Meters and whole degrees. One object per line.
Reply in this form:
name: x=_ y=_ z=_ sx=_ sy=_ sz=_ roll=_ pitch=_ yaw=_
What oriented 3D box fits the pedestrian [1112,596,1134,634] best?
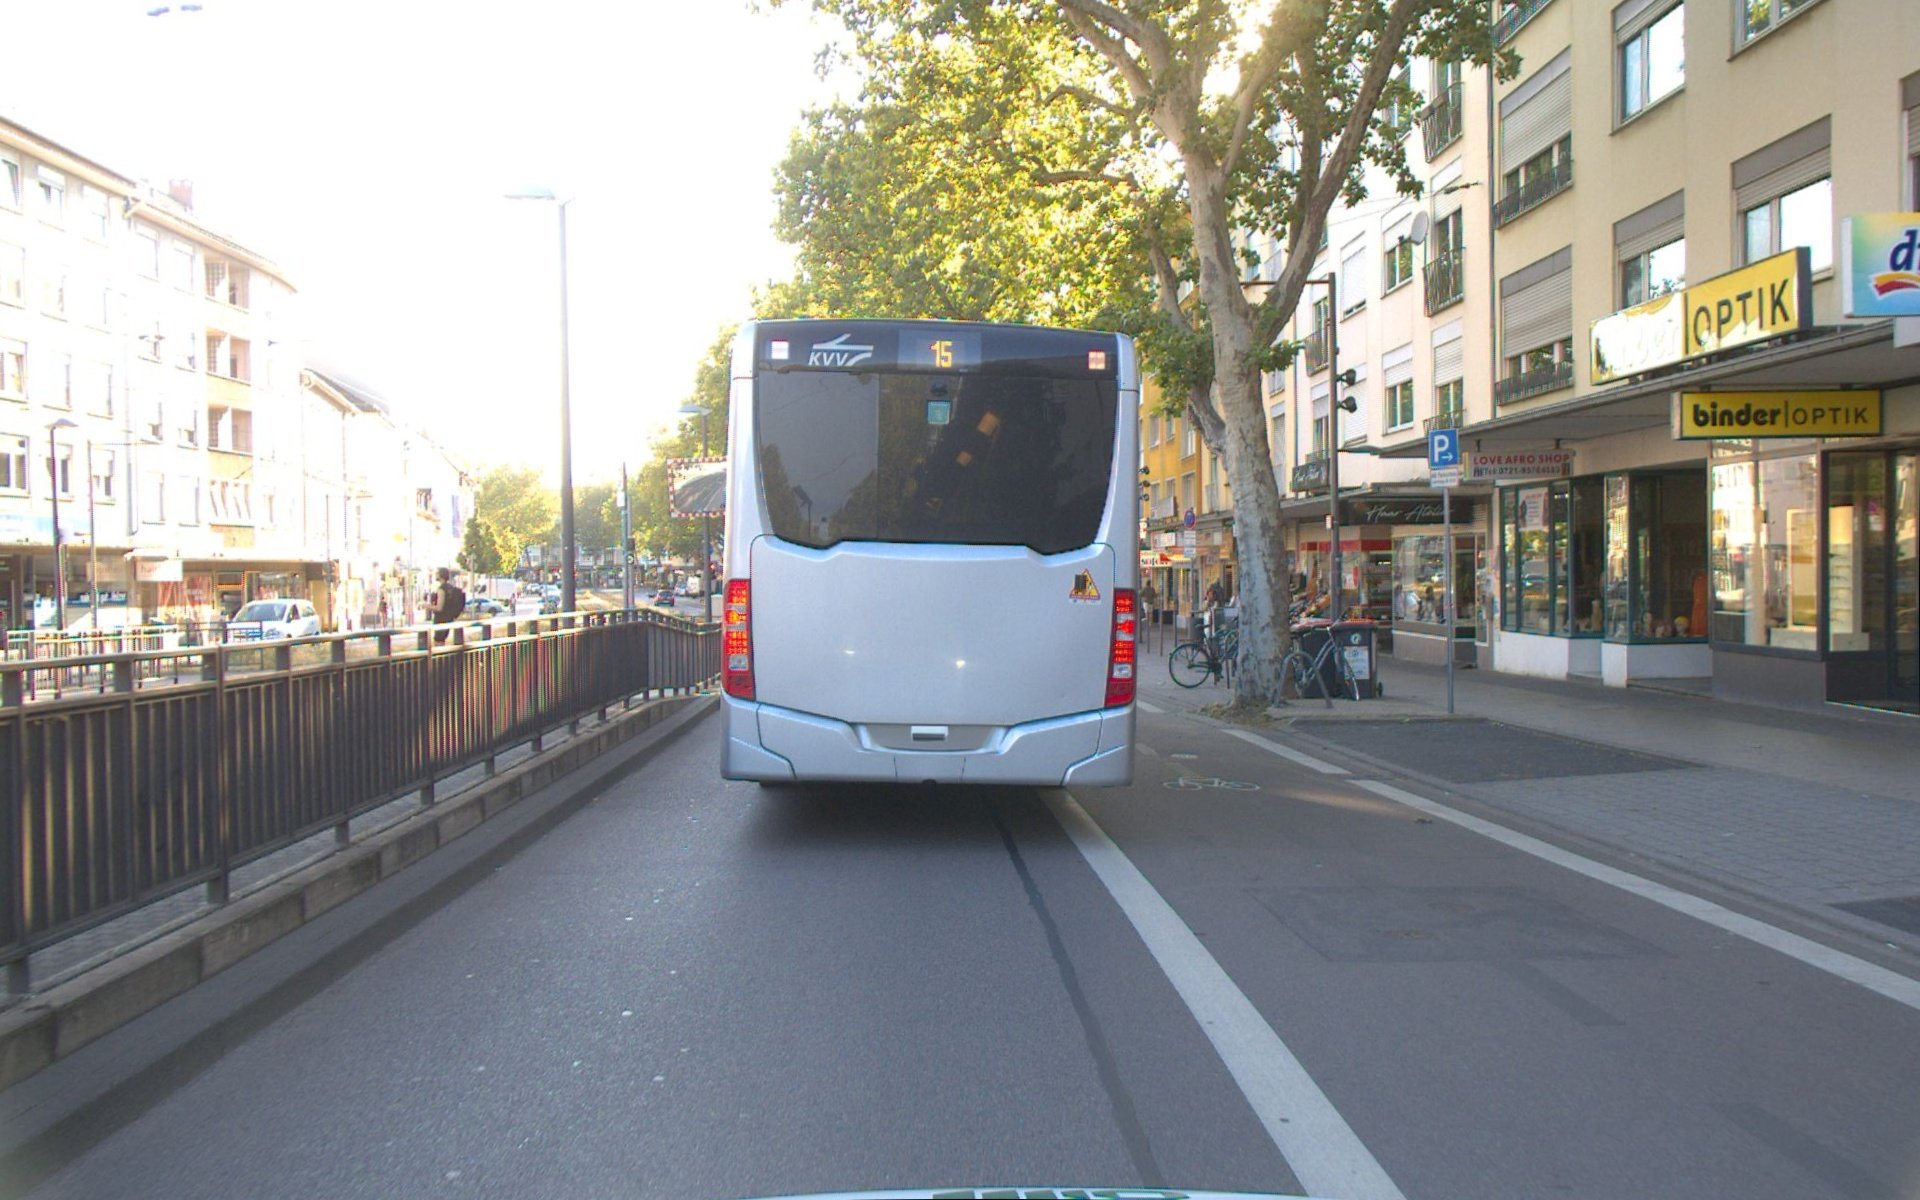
pedestrian: x=5.557 y=0.512 z=56.341 sx=0.572 sy=1.297 sz=0.757 roll=1 pitch=0 yaw=-8

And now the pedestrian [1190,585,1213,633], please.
pedestrian: x=7.943 y=0.303 z=54.386 sx=0.612 sy=1.573 sz=0.637 roll=-1 pitch=0 yaw=22

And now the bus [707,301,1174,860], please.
bus: x=-0.316 y=-0.151 z=12.928 sx=2.625 sy=3.137 sz=7.109 roll=-1 pitch=0 yaw=-4

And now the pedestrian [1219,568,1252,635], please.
pedestrian: x=6.731 y=0.033 z=40.405 sx=0.610 sy=1.614 sz=0.626 roll=-3 pitch=0 yaw=-3

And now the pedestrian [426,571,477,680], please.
pedestrian: x=-8.903 y=0.433 z=28.982 sx=0.727 sy=1.881 sz=0.589 roll=-1 pitch=0 yaw=-7

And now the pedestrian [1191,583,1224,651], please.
pedestrian: x=6.048 y=0.409 z=40.402 sx=0.623 sy=1.614 sz=0.626 roll=-3 pitch=0 yaw=-3

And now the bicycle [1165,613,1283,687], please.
bicycle: x=4.407 y=0.839 z=27.707 sx=1.867 sy=1.124 sz=0.518 roll=-3 pitch=0 yaw=4

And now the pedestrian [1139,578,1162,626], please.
pedestrian: x=7.497 y=0.077 z=65.118 sx=0.693 sy=1.822 sz=0.787 roll=-4 pitch=0 yaw=-3

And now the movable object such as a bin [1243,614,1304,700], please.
movable object such as a bin: x=4.430 y=0.799 z=23.381 sx=0.707 sy=1.121 sz=0.644 roll=-5 pitch=0 yaw=5

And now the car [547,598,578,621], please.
car: x=-28.519 y=0.682 z=118.762 sx=1.690 sy=1.535 sz=3.470 roll=-3 pitch=0 yaw=-8

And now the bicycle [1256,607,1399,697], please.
bicycle: x=4.781 y=0.689 z=21.578 sx=1.683 sy=1.137 sz=0.745 roll=0 pitch=-3 yaw=-2

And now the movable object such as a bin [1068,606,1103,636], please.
movable object such as a bin: x=4.377 y=0.730 z=57.832 sx=0.917 sy=1.041 sz=0.831 roll=1 pitch=0 yaw=-32

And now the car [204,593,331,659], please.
car: x=-19.671 y=0.690 z=47.184 sx=1.954 sy=1.747 sz=4.433 roll=-1 pitch=1 yaw=-3

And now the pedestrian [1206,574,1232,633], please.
pedestrian: x=8.225 y=0.111 z=52.477 sx=0.623 sy=1.835 sz=0.626 roll=-1 pitch=0 yaw=27

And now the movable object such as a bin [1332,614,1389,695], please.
movable object such as a bin: x=5.623 y=0.761 z=23.210 sx=0.707 sy=1.090 sz=0.644 roll=-2 pitch=0 yaw=17

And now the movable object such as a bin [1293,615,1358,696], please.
movable object such as a bin: x=5.229 y=0.786 z=23.685 sx=0.708 sy=1.090 sz=0.643 roll=-3 pitch=0 yaw=-4

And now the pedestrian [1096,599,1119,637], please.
pedestrian: x=4.883 y=0.579 z=54.604 sx=0.594 sy=1.246 sz=0.743 roll=0 pitch=0 yaw=-8

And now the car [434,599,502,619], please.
car: x=-36.931 y=0.667 z=124.109 sx=1.966 sy=1.437 sz=4.520 roll=-1 pitch=0 yaw=44
